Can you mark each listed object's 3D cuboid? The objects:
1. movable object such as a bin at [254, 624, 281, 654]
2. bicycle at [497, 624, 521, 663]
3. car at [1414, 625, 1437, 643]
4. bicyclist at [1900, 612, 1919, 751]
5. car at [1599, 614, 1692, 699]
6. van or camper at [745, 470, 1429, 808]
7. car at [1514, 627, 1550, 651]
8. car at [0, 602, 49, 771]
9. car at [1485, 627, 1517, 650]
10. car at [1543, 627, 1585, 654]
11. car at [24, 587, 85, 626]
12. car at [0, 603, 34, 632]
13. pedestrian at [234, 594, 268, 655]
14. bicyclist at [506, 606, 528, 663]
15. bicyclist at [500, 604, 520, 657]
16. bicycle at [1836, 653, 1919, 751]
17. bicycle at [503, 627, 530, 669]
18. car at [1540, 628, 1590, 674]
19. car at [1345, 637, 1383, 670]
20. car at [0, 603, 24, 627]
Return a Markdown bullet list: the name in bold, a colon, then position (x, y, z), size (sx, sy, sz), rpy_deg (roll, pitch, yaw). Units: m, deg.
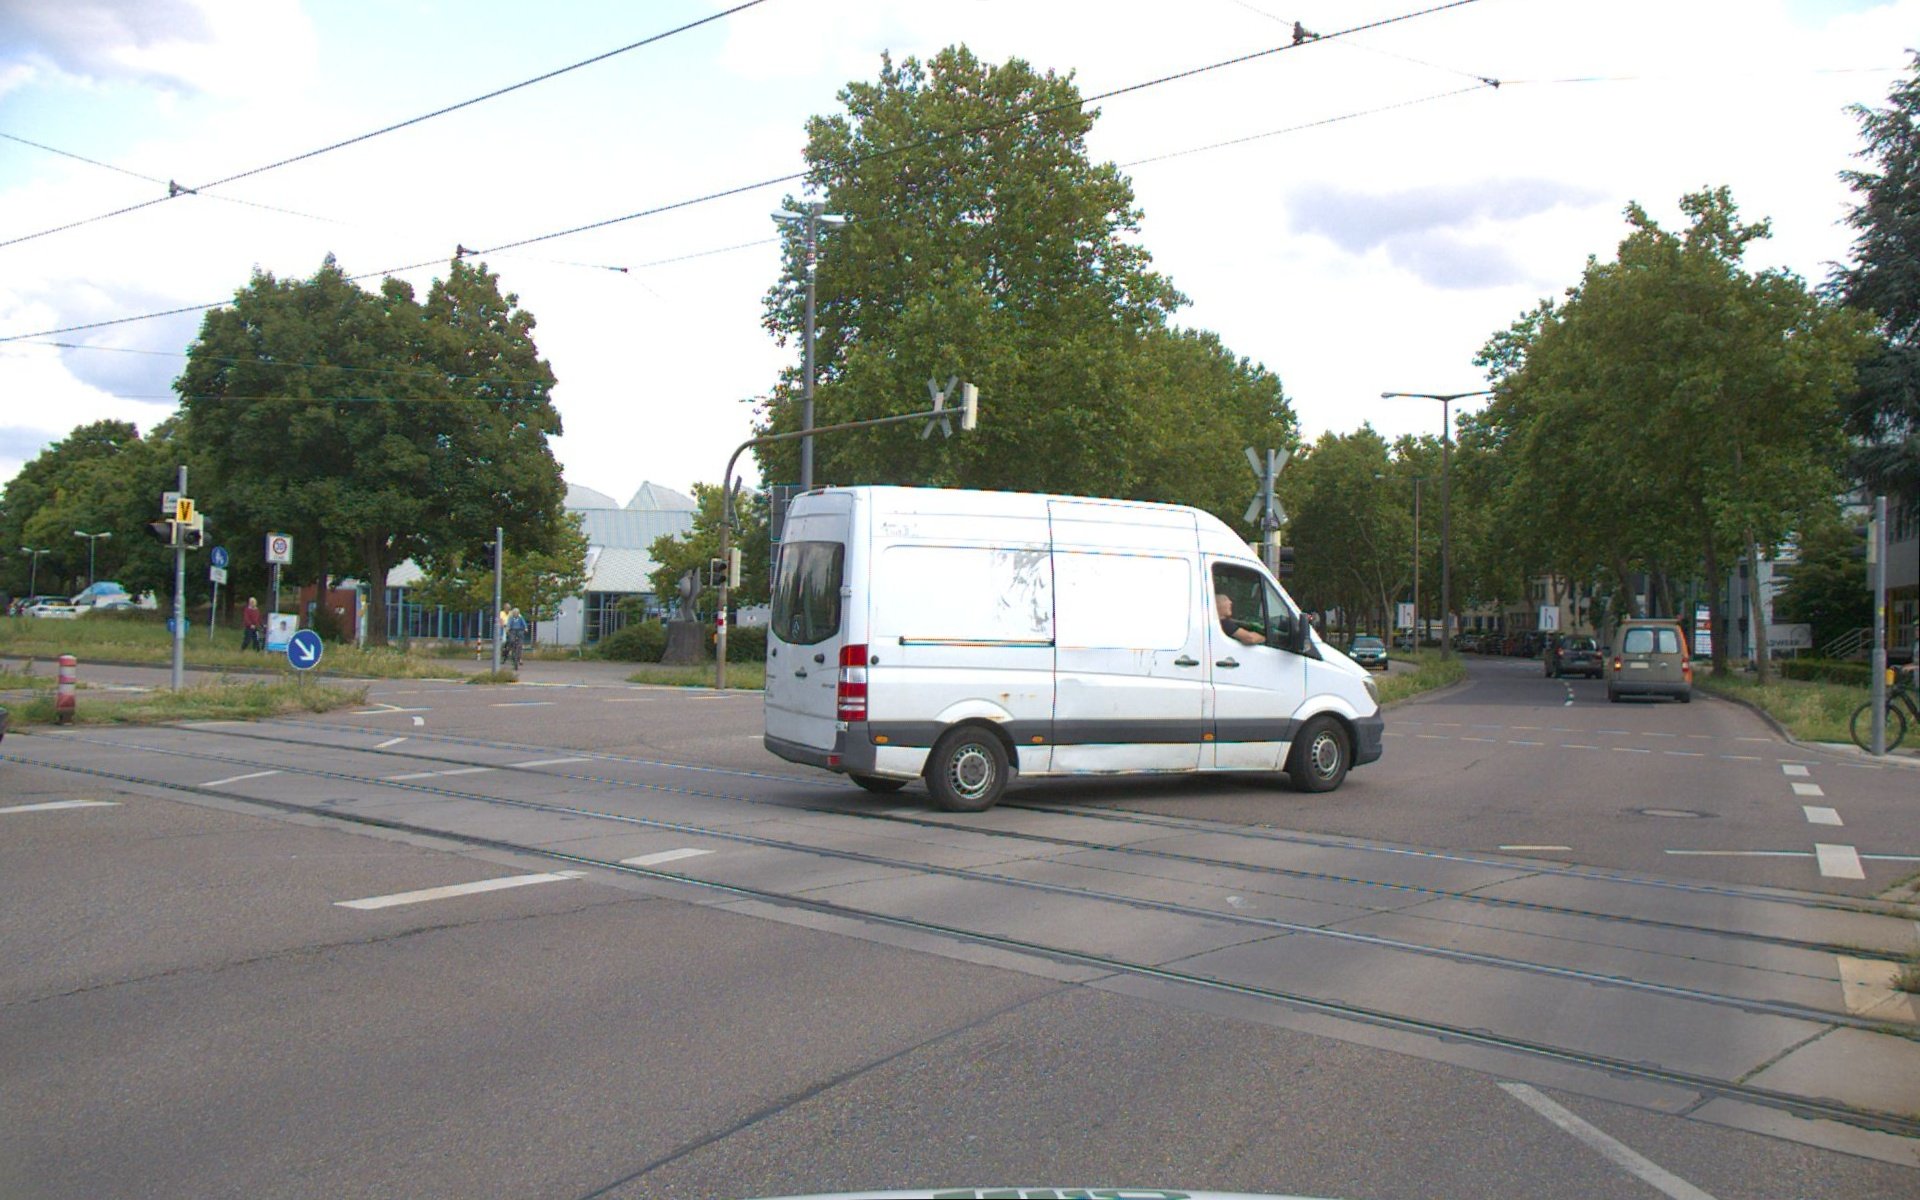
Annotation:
- **movable object such as a bin**: position (-19.223, 1.078, 45.927), size (0.448, 0.825, 0.579), rpy_deg (0, 1, 14)
- **bicycle**: position (-13.804, 1.334, 50.622), size (0.552, 1.150, 1.371), rpy_deg (1, -1, -21)
- **car**: position (47.462, 3.474, 168.597), size (1.951, 1.601, 4.004), rpy_deg (0, 1, 11)
- **bicyclist**: position (13.014, 1.089, 22.310), size (0.533, 1.841, 0.539), rpy_deg (1, 1, 32)
- **car**: position (16.157, 1.299, 39.133), size (1.839, 1.831, 4.370), rpy_deg (1, -1, 20)
- **van or camper**: position (1.234, 0.369, 14.812), size (5.944, 2.569, 1.965), rpy_deg (2, -1, -27)
- **car**: position (41.581, 2.816, 120.284), size (1.951, 1.601, 4.004), rpy_deg (0, 1, 11)
- **car**: position (-10.476, 0.736, 14.154), size (4.361, 1.456, 1.812), rpy_deg (0, -1, 3)
- **car**: position (42.089, 3.003, 128.756), size (1.951, 1.601, 4.004), rpy_deg (0, 1, 11)
- **car**: position (39.539, 2.634, 108.354), size (1.951, 1.601, 4.004), rpy_deg (0, 1, 11)
- **car**: position (-41.050, 0.297, 74.930), size (1.977, 1.669, 4.336), rpy_deg (2, -1, -35)
- **car**: position (-58.103, 1.056, 101.306), size (1.977, 1.669, 4.336), rpy_deg (2, -1, -35)
- **pedestrian**: position (-19.743, 0.673, 46.057), size (0.622, 1.673, 0.613), rpy_deg (0, 1, 15)
- **bicyclist**: position (-12.593, 0.984, 47.064), size (0.476, 1.581, 0.555), rpy_deg (2, -3, -9)
- **bicyclist**: position (-13.770, 0.928, 50.580), size (0.478, 1.581, 0.552), rpy_deg (3, -2, -21)
- **bicycle**: position (12.947, 1.386, 22.360), size (1.911, 1.257, 0.539), rpy_deg (1, 1, 33)
- **bicycle**: position (-12.617, 1.374, 47.065), size (0.550, 1.150, 1.377), rpy_deg (2, -2, -8)
- **car**: position (22.924, 1.925, 62.776), size (1.694, 1.659, 4.053), rpy_deg (1, -2, 19)
- **car**: position (18.394, 2.411, 75.418), size (1.621, 1.293, 3.774), rpy_deg (0, 1, 13)
- **car**: position (-68.683, 1.077, 118.961), size (1.977, 1.669, 4.336), rpy_deg (2, -1, -35)
